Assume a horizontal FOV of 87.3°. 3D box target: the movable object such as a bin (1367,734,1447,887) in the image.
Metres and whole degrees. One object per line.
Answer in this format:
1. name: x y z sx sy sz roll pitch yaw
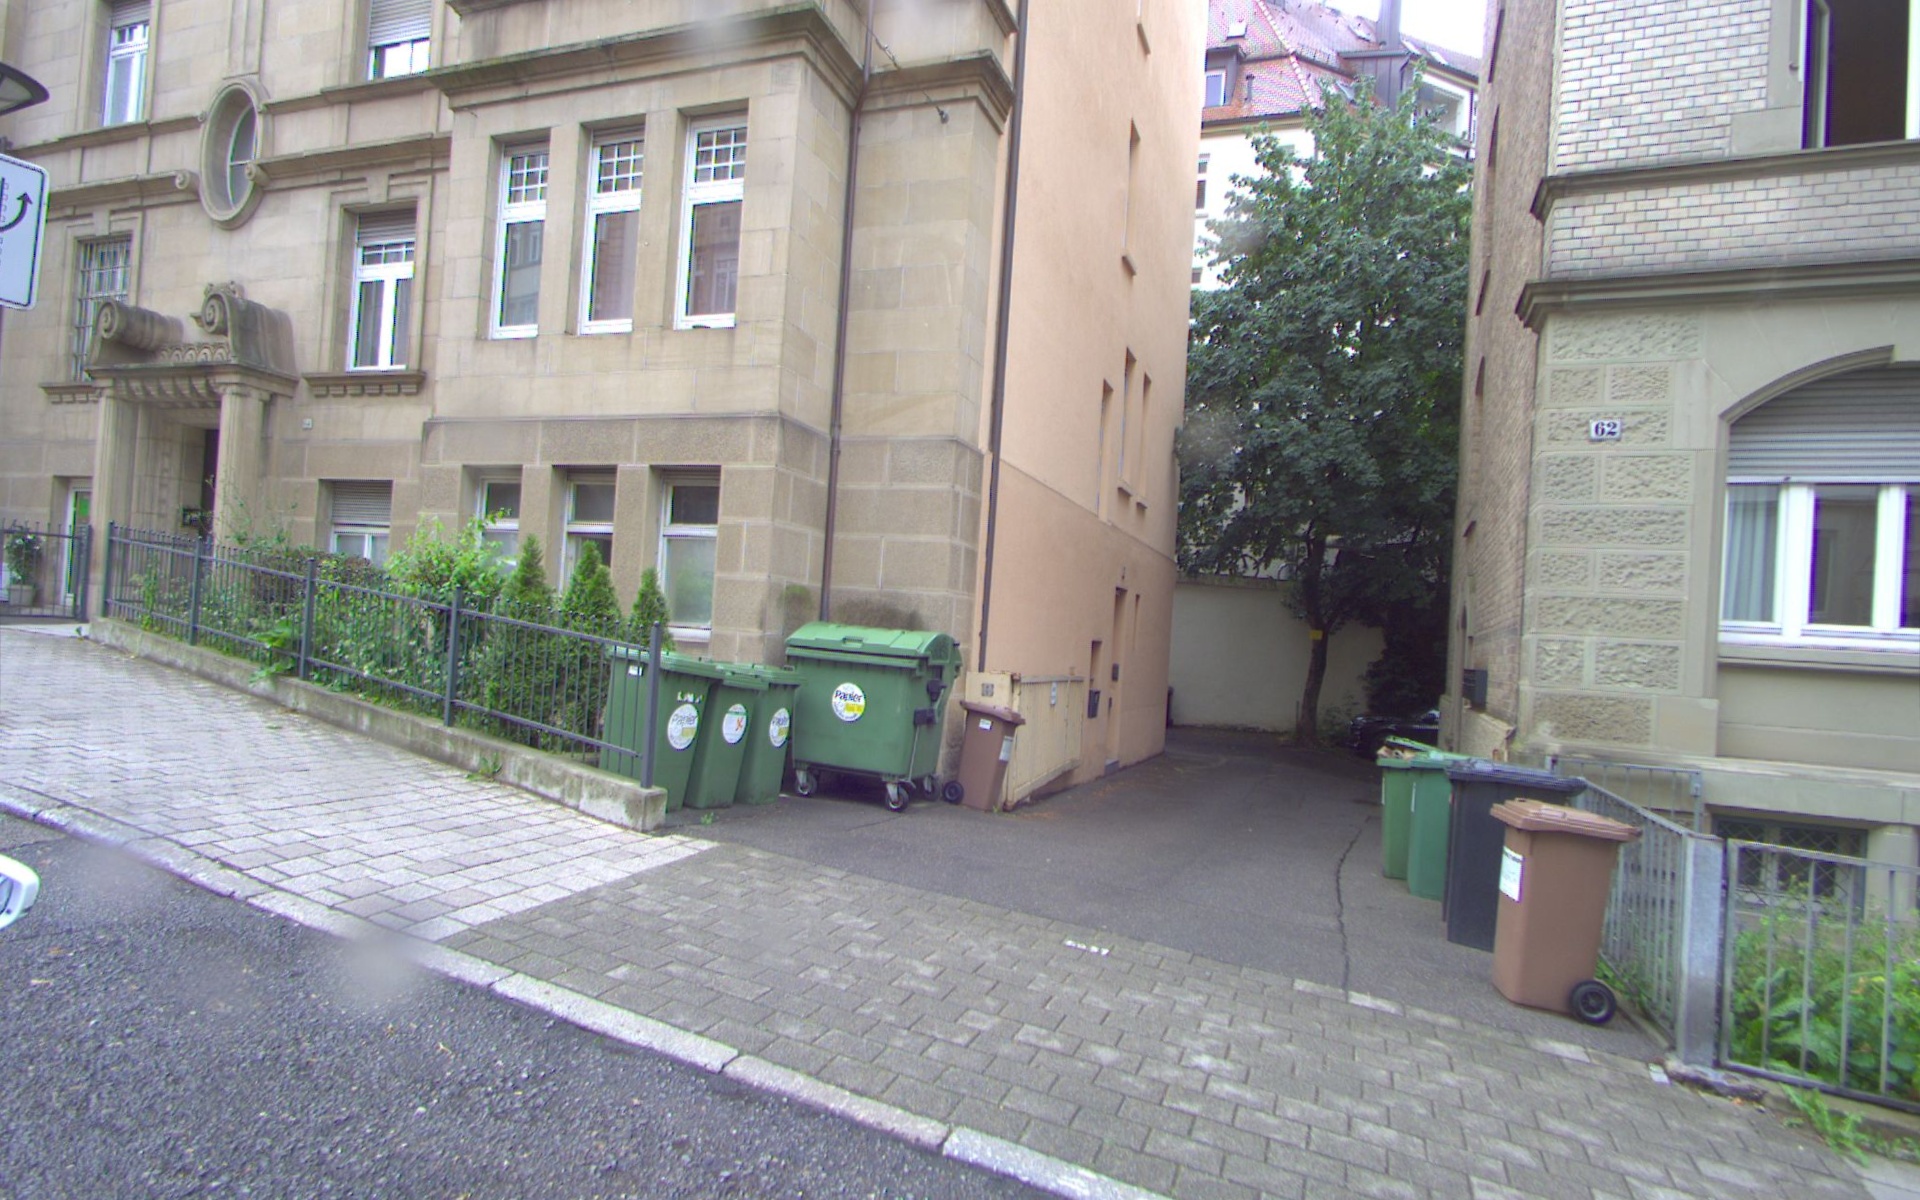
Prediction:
1. movable object such as a bin: 3.604 1.675 8.137 0.469 1.113 0.521 6 -3 23

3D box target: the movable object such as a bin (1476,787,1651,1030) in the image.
1. movable object such as a bin: 2.818 1.423 4.744 0.527 0.932 0.427 7 2 20

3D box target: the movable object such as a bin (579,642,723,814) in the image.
1. movable object such as a bin: -2.063 0.850 6.760 0.593 1.036 0.540 6 -4 20

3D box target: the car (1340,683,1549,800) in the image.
1. car: 10.999 3.134 22.977 3.930 1.530 1.796 13 5 28

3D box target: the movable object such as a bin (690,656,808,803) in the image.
1. movable object such as a bin: -1.647 1.012 7.910 0.593 1.036 0.540 6 -4 20

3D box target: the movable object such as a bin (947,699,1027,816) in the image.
1. movable object such as a bin: 0.247 1.396 8.977 0.510 0.952 0.395 6 -4 20

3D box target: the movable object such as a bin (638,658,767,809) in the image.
1. movable object such as a bin: -1.858 0.957 7.301 0.593 0.978 0.540 6 -4 20

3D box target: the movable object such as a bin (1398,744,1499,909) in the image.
1. movable object such as a bin: 3.579 1.637 7.404 0.545 1.072 0.498 6 -3 24

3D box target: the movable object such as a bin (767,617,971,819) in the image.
1. movable object such as a bin: -0.741 0.977 8.482 1.256 1.446 0.976 6 -4 20

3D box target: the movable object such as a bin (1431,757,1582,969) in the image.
1. movable object such as a bin: 3.168 1.482 5.847 0.653 1.041 0.529 6 -4 30

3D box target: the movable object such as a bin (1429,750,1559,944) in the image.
1. movable object such as a bin: 3.391 1.541 6.431 0.598 1.072 0.501 6 -3 24
